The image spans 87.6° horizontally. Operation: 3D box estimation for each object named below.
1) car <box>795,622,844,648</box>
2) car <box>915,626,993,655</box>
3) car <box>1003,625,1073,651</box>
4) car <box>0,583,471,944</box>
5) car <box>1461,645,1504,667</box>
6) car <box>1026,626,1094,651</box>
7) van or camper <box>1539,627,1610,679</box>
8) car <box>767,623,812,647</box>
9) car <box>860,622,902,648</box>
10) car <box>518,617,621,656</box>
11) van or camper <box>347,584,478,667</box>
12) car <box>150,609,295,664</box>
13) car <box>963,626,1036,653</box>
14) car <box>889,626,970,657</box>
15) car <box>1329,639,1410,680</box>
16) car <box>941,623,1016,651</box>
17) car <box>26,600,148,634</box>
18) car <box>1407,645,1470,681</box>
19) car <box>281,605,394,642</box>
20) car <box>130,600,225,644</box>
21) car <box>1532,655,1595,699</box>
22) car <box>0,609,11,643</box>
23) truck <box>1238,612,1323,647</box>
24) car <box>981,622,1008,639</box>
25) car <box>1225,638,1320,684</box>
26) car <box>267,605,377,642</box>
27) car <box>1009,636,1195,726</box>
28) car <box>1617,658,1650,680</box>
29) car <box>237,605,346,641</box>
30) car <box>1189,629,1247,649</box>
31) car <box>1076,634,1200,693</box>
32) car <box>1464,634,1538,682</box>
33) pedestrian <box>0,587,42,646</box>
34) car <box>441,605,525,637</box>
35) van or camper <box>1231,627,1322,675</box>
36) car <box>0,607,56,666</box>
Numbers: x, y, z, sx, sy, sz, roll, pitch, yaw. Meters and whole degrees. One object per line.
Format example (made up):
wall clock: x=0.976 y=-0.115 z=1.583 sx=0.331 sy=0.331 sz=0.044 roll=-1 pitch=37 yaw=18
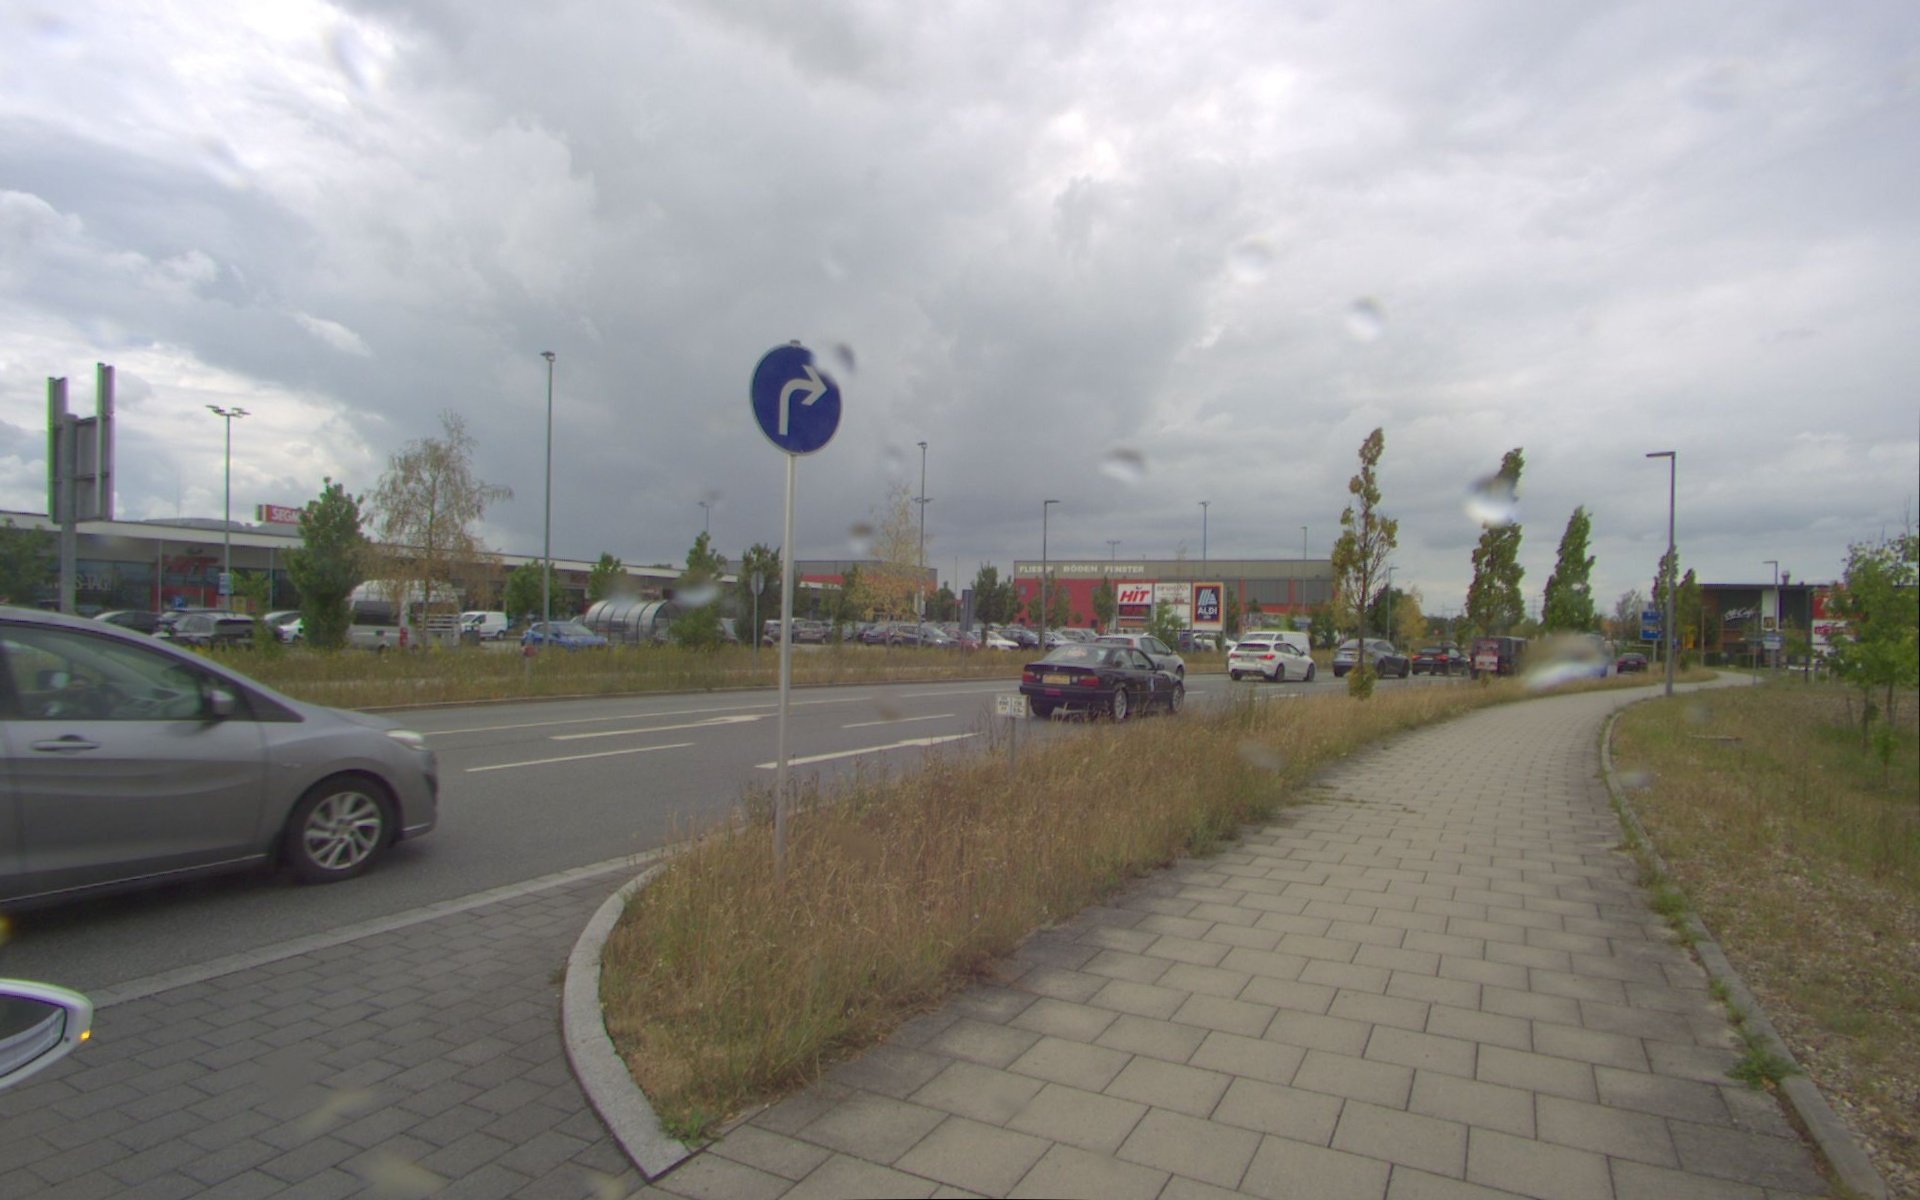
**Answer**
car: x=-9.939 y=2.445 z=71.015 sx=1.963 sy=1.756 sz=3.996 roll=1 pitch=-1 yaw=15
car: x=-0.350 y=2.154 z=53.415 sx=3.763 sy=1.408 sz=1.902 roll=1 pitch=-1 yaw=36
car: x=4.661 y=2.288 z=60.258 sx=3.763 sy=1.408 sz=1.902 roll=1 pitch=-1 yaw=36
car: x=-4.973 y=0.710 z=4.932 sx=1.792 sy=1.583 sz=4.385 roll=2 pitch=0 yaw=28
car: x=35.076 y=3.757 z=67.225 sx=1.753 sy=1.402 sz=4.120 roll=0 pitch=-2 yaw=39
car: x=6.248 y=2.359 z=62.511 sx=3.763 sy=1.408 sz=1.902 roll=1 pitch=-1 yaw=36
van or camper: x=32.815 y=2.844 z=53.383 sx=2.171 sy=2.573 sz=6.119 roll=1 pitch=-2 yaw=41
car: x=-12.271 y=2.496 z=72.227 sx=1.730 sy=1.675 sz=3.833 roll=1 pitch=-1 yaw=15
car: x=-5.375 y=2.387 z=68.647 sx=1.730 sy=1.675 sz=3.833 roll=1 pitch=-1 yaw=15
car: x=-15.079 y=1.390 z=38.626 sx=4.096 sy=1.402 sz=1.799 roll=0 pitch=-2 yaw=37
van or camper: x=-17.772 y=0.837 z=32.478 sx=3.949 sy=2.524 sz=2.276 roll=0 pitch=-2 yaw=37
car: x=-21.307 y=1.027 z=28.918 sx=4.089 sy=1.469 sz=1.986 roll=0 pitch=-2 yaw=32
car: x=2.255 y=2.242 z=57.122 sx=3.763 sy=1.408 sz=1.902 roll=1 pitch=-1 yaw=36
car: x=-1.588 y=2.117 z=51.710 sx=3.763 sy=1.408 sz=1.902 roll=1 pitch=-1 yaw=36
car: x=17.259 y=2.450 z=42.075 sx=1.789 sy=1.527 sz=4.848 roll=1 pitch=-1 yaw=40
car: x=1.002 y=2.007 z=55.338 sx=3.763 sy=1.408 sz=1.902 roll=1 pitch=-1 yaw=36
car: x=-41.878 y=0.849 z=48.132 sx=1.967 sy=1.527 sz=3.989 roll=1 pitch=-1 yaw=25
car: x=23.423 y=3.036 z=48.922 sx=1.885 sy=1.588 sz=4.307 roll=1 pitch=-2 yaw=38
car: x=-28.762 y=1.099 z=46.386 sx=1.971 sy=1.639 sz=3.981 roll=1 pitch=-1 yaw=32
car: x=-31.728 y=0.878 z=40.579 sx=3.942 sy=1.675 sz=1.811 roll=1 pitch=-1 yaw=32
car: x=25.240 y=3.166 z=41.843 sx=1.666 sy=1.698 sz=3.478 roll=0 pitch=-2 yaw=41
car: x=-44.932 y=1.131 z=45.027 sx=3.935 sy=1.527 sz=1.994 roll=1 pitch=-1 yaw=26
truck: x=29.425 y=2.728 z=91.749 sx=8.066 sy=2.983 sz=2.666 roll=2 pitch=-1 yaw=-30
car: x=3.696 y=3.177 z=105.848 sx=1.732 sy=1.675 sz=3.829 roll=1 pitch=-1 yaw=19
car: x=11.136 y=2.130 z=35.548 sx=1.779 sy=1.469 sz=4.218 roll=1 pitch=-1 yaw=39
car: x=-30.395 y=1.120 z=47.821 sx=1.971 sy=1.639 sz=3.981 roll=1 pitch=-1 yaw=32
car: x=2.730 y=1.382 z=18.407 sx=1.734 sy=1.404 sz=4.279 roll=1 pitch=-1 yaw=33
car: x=46.133 y=4.690 z=68.603 sx=1.478 sy=1.403 sz=3.315 roll=0 pitch=-2 yaw=41
car: x=-32.755 y=1.128 z=49.149 sx=1.971 sy=1.639 sz=3.981 roll=1 pitch=-1 yaw=32
car: x=20.237 y=3.051 z=78.562 sx=3.948 sy=1.460 sz=1.988 roll=0 pitch=-2 yaw=36
car: x=5.031 y=1.707 z=27.996 sx=1.779 sy=1.480 sz=3.788 roll=1 pitch=-1 yaw=39
car: x=24.296 y=2.592 z=44.896 sx=1.976 sy=1.948 sz=4.812 roll=1 pitch=-2 yaw=40
pedestrian: x=-33.298 y=0.568 z=35.351 sx=0.986 sy=2.040 sz=0.866 roll=1 pitch=0 yaw=-19
car: x=-28.691 y=1.316 z=60.423 sx=1.965 sy=1.842 sz=4.420 roll=0 pitch=-2 yaw=21
van or camper: x=14.054 y=2.202 z=44.224 sx=1.976 sy=1.936 sz=5.164 roll=1 pitch=-1 yaw=40
car: x=-24.350 y=0.872 z=24.686 sx=4.089 sy=1.402 sz=1.986 roll=0 pitch=-2 yaw=32
